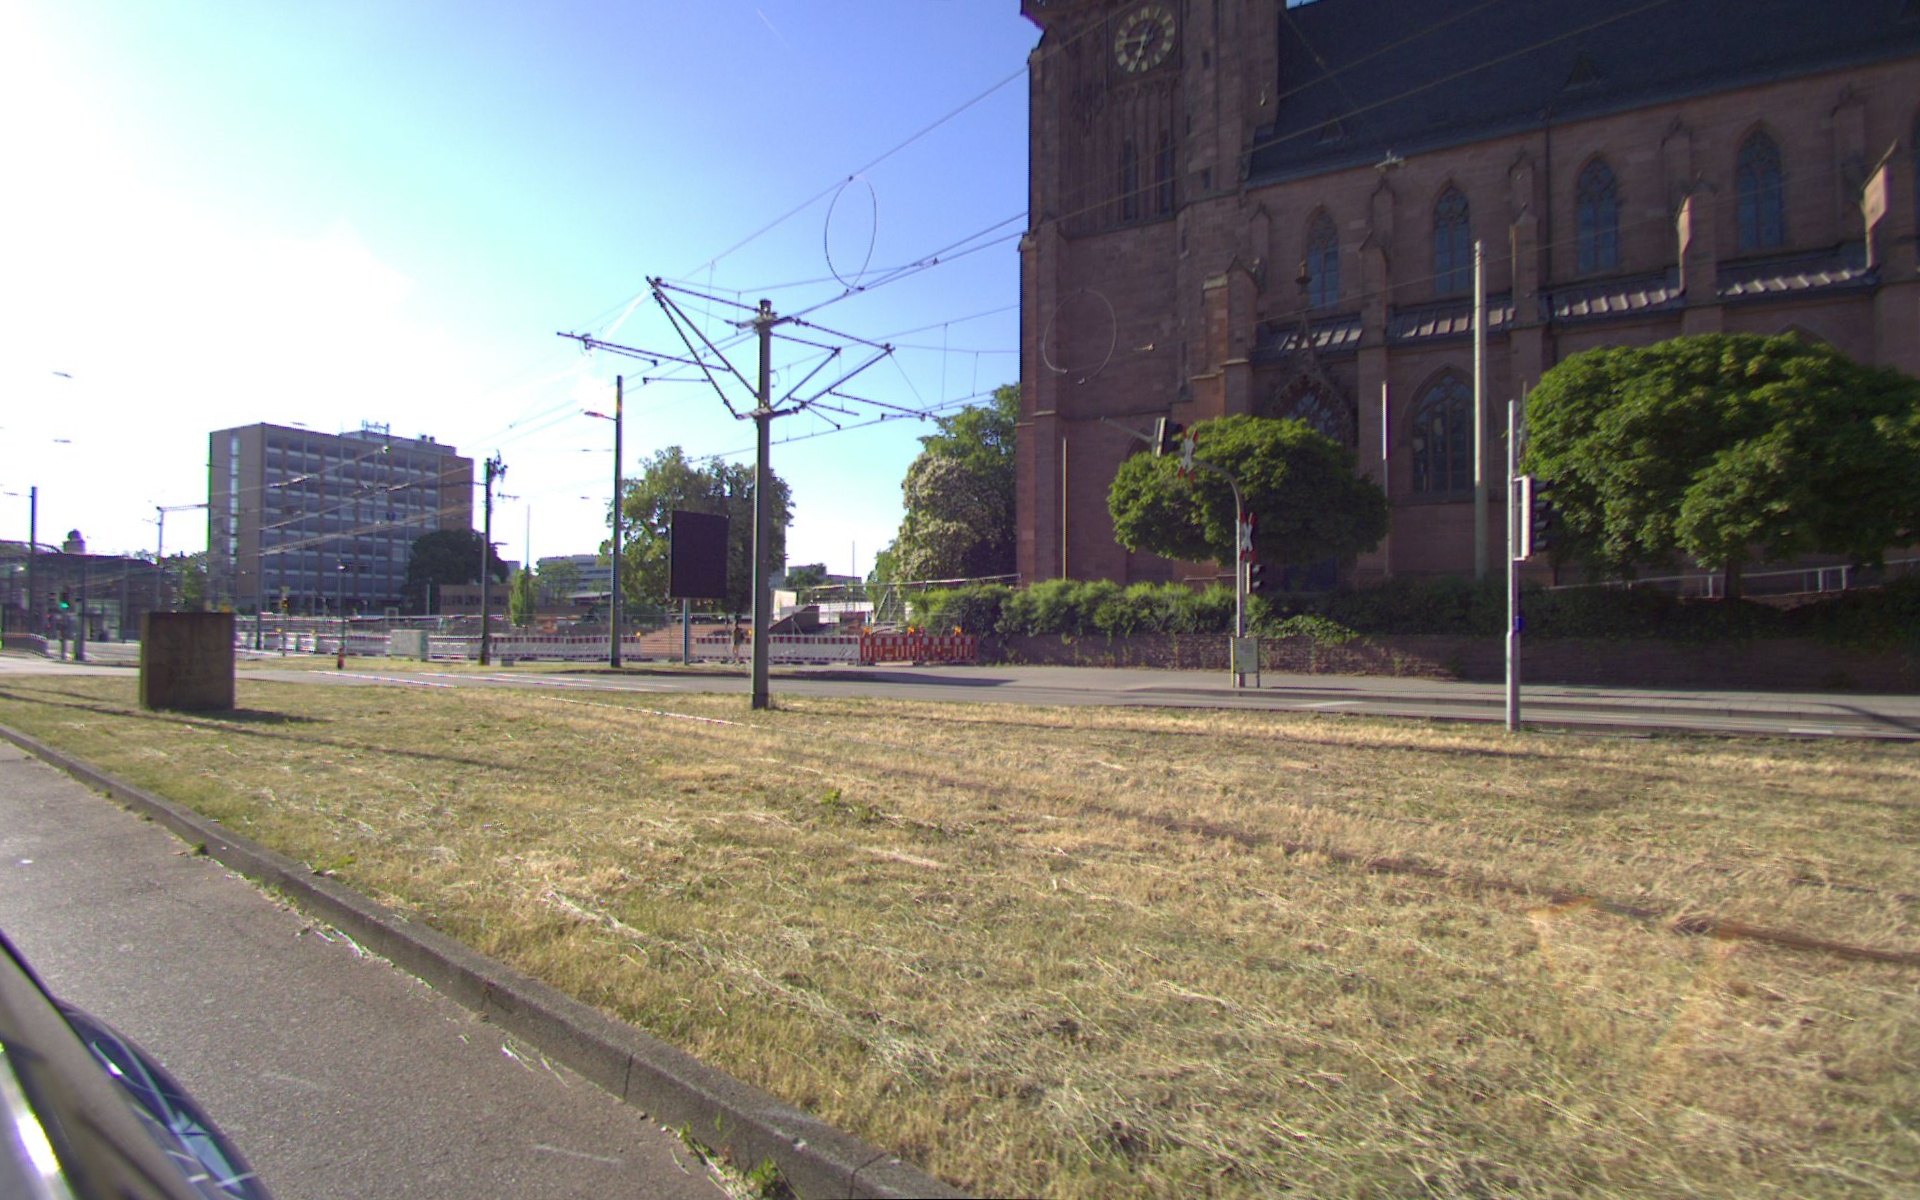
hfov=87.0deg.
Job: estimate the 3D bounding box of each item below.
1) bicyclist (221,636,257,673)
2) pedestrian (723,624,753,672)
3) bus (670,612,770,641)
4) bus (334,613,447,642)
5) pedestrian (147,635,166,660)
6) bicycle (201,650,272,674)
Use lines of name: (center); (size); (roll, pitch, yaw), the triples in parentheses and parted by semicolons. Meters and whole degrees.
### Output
bicyclist: (-36.895, 2.789, 51.775); (0.965, 1.823, 1.302); (-5, -4, 40)
pedestrian: (-8.467, 1.835, 38.569); (0.862, 1.787, 0.721); (-5, -5, 38)
bus: (-31.373, 3.480, 132.601); (12.467, 3.219, 3.255); (-1, -4, -5)
bus: (-72.260, 3.482, 128.628); (12.467, 3.219, 2.844); (-1, -4, -5)
pedestrian: (-57.415, 3.392, 72.302); (1.179, 1.782, 0.793); (-5, -6, 41)
bicycle: (-36.933, 3.144, 51.710); (0.965, 1.105, 2.786); (-5, -4, 39)
